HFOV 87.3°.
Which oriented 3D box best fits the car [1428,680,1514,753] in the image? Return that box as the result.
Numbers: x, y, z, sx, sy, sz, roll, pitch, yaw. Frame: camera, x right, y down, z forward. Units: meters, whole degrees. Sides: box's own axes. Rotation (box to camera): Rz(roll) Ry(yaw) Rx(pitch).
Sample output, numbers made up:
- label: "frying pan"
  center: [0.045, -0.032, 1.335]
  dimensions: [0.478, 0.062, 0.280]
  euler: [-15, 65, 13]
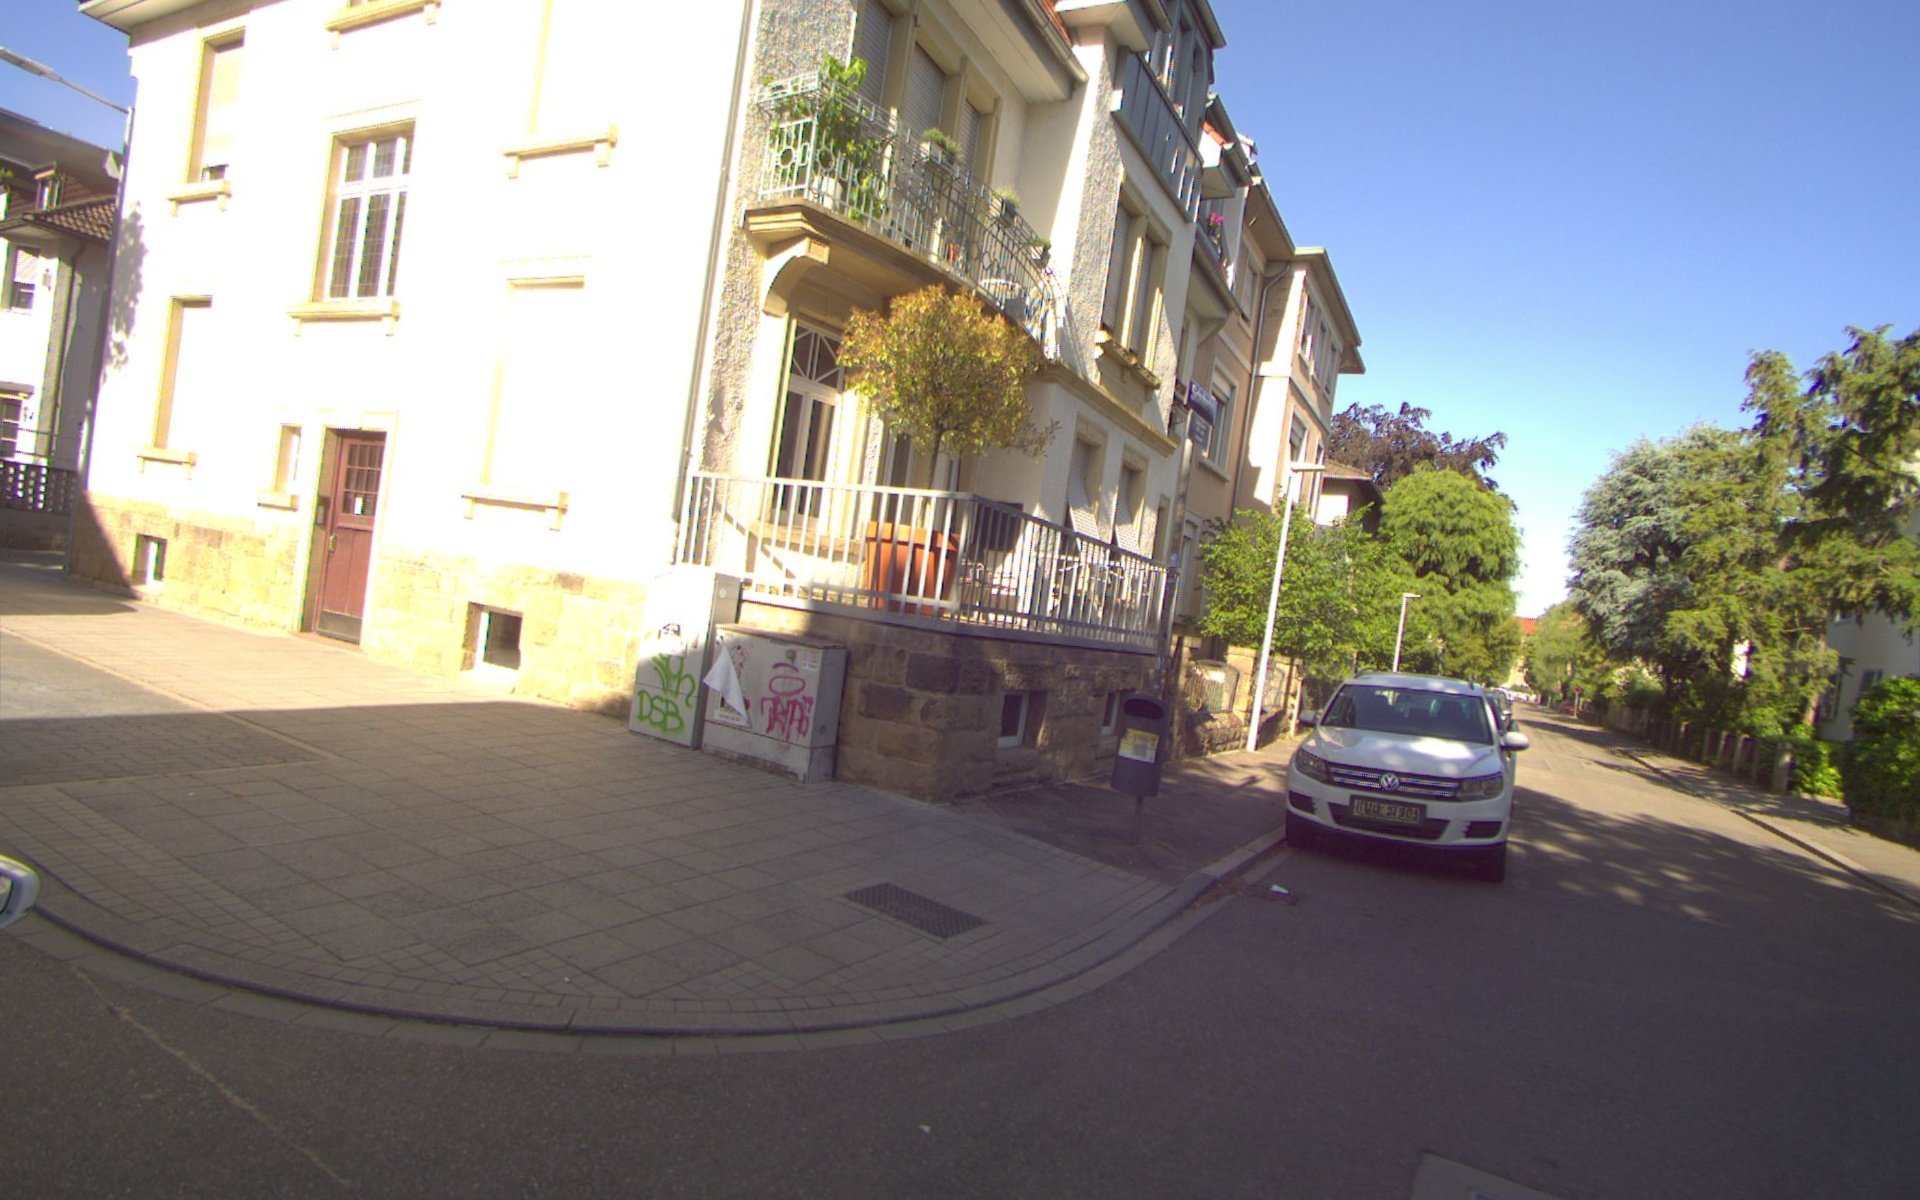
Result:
- label: "car"
  center: [13.703, 3.072, 26.944]
  dimensions: [1.775, 1.600, 3.392]
  euler: [6, -2, 28]

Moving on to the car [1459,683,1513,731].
- label: "car"
  center: [21.149, 4.264, 40.420]
  dimensions: [1.645, 1.589, 3.724]
  euler: [9, 0, 29]

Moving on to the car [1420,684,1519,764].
- label: "car"
  center: [11.722, 2.783, 23.124]
  dimensions: [1.775, 1.468, 3.392]
  euler: [6, -2, 28]

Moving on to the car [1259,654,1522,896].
- label: "car"
  center: [4.292, 1.493, 9.701]
  dimensions: [1.760, 1.609, 3.996]
  euler: [6, -1, 29]

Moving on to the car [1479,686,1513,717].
- label: "car"
  center: [32.986, 6.248, 61.934]
  dimensions: [1.645, 1.590, 3.724]
  euler: [8, 0, 29]

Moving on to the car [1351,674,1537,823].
- label: "car"
  center: [6.961, 1.992, 14.492]
  dimensions: [1.965, 1.568, 3.997]
  euler: [6, -1, 27]
